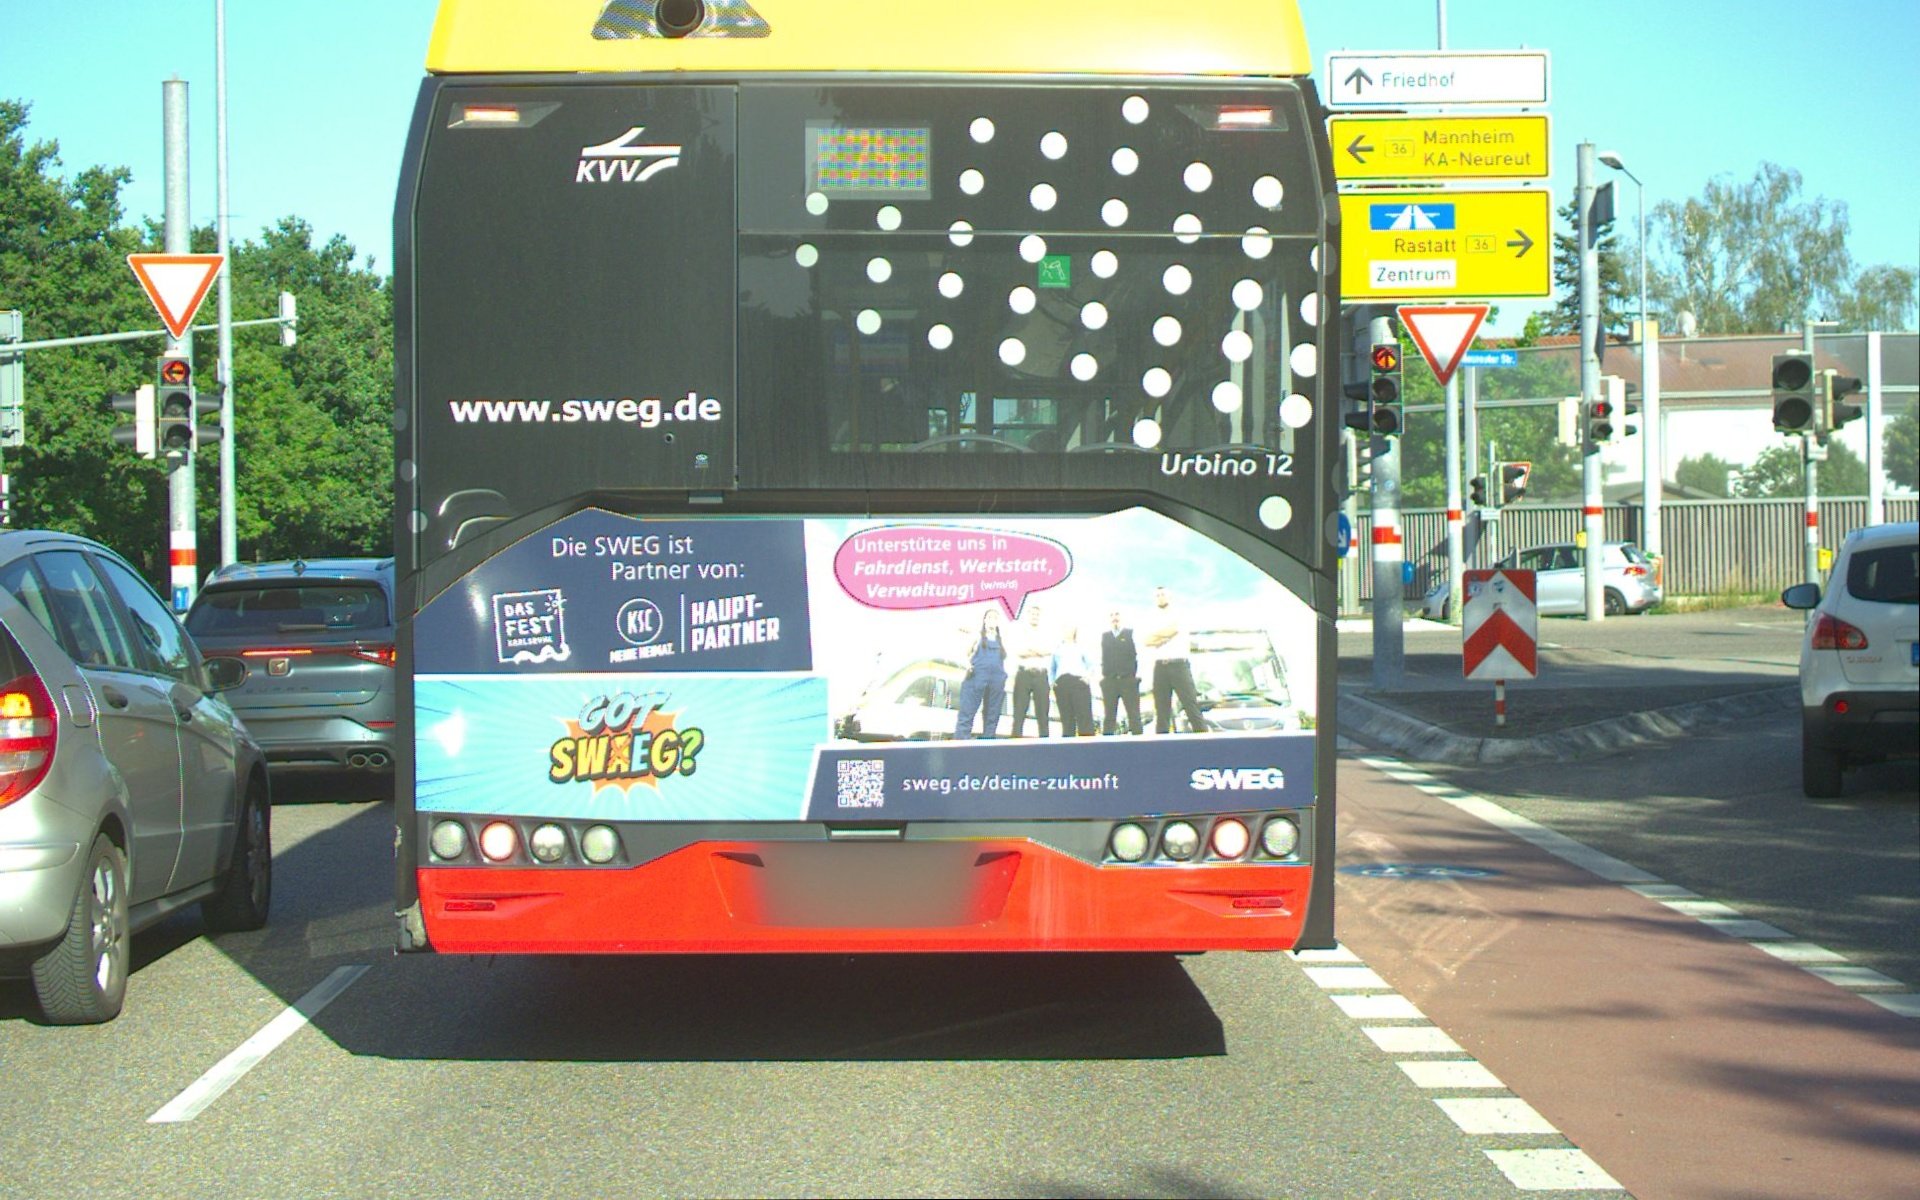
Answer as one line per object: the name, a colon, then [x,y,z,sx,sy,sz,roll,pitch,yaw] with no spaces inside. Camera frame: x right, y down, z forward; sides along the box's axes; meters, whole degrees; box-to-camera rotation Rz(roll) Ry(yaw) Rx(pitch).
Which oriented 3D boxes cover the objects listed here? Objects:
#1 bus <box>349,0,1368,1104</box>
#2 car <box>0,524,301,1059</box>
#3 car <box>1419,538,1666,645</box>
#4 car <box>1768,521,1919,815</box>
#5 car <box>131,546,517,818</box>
bus: [-0.284,-0.404,14.893,2.642,3.156,11.861,0,1,0]
car: [-3.596,0.560,12.195,1.761,1.584,4.000,-2,1,-1]
car: [10.365,-0.158,61.150,3.991,1.809,1.921,1,1,21]
car: [5.874,0.339,20.715,1.718,1.602,4.066,1,1,10]
car: [-3.803,0.429,21.127,1.692,1.453,3.751,-2,1,-1]
